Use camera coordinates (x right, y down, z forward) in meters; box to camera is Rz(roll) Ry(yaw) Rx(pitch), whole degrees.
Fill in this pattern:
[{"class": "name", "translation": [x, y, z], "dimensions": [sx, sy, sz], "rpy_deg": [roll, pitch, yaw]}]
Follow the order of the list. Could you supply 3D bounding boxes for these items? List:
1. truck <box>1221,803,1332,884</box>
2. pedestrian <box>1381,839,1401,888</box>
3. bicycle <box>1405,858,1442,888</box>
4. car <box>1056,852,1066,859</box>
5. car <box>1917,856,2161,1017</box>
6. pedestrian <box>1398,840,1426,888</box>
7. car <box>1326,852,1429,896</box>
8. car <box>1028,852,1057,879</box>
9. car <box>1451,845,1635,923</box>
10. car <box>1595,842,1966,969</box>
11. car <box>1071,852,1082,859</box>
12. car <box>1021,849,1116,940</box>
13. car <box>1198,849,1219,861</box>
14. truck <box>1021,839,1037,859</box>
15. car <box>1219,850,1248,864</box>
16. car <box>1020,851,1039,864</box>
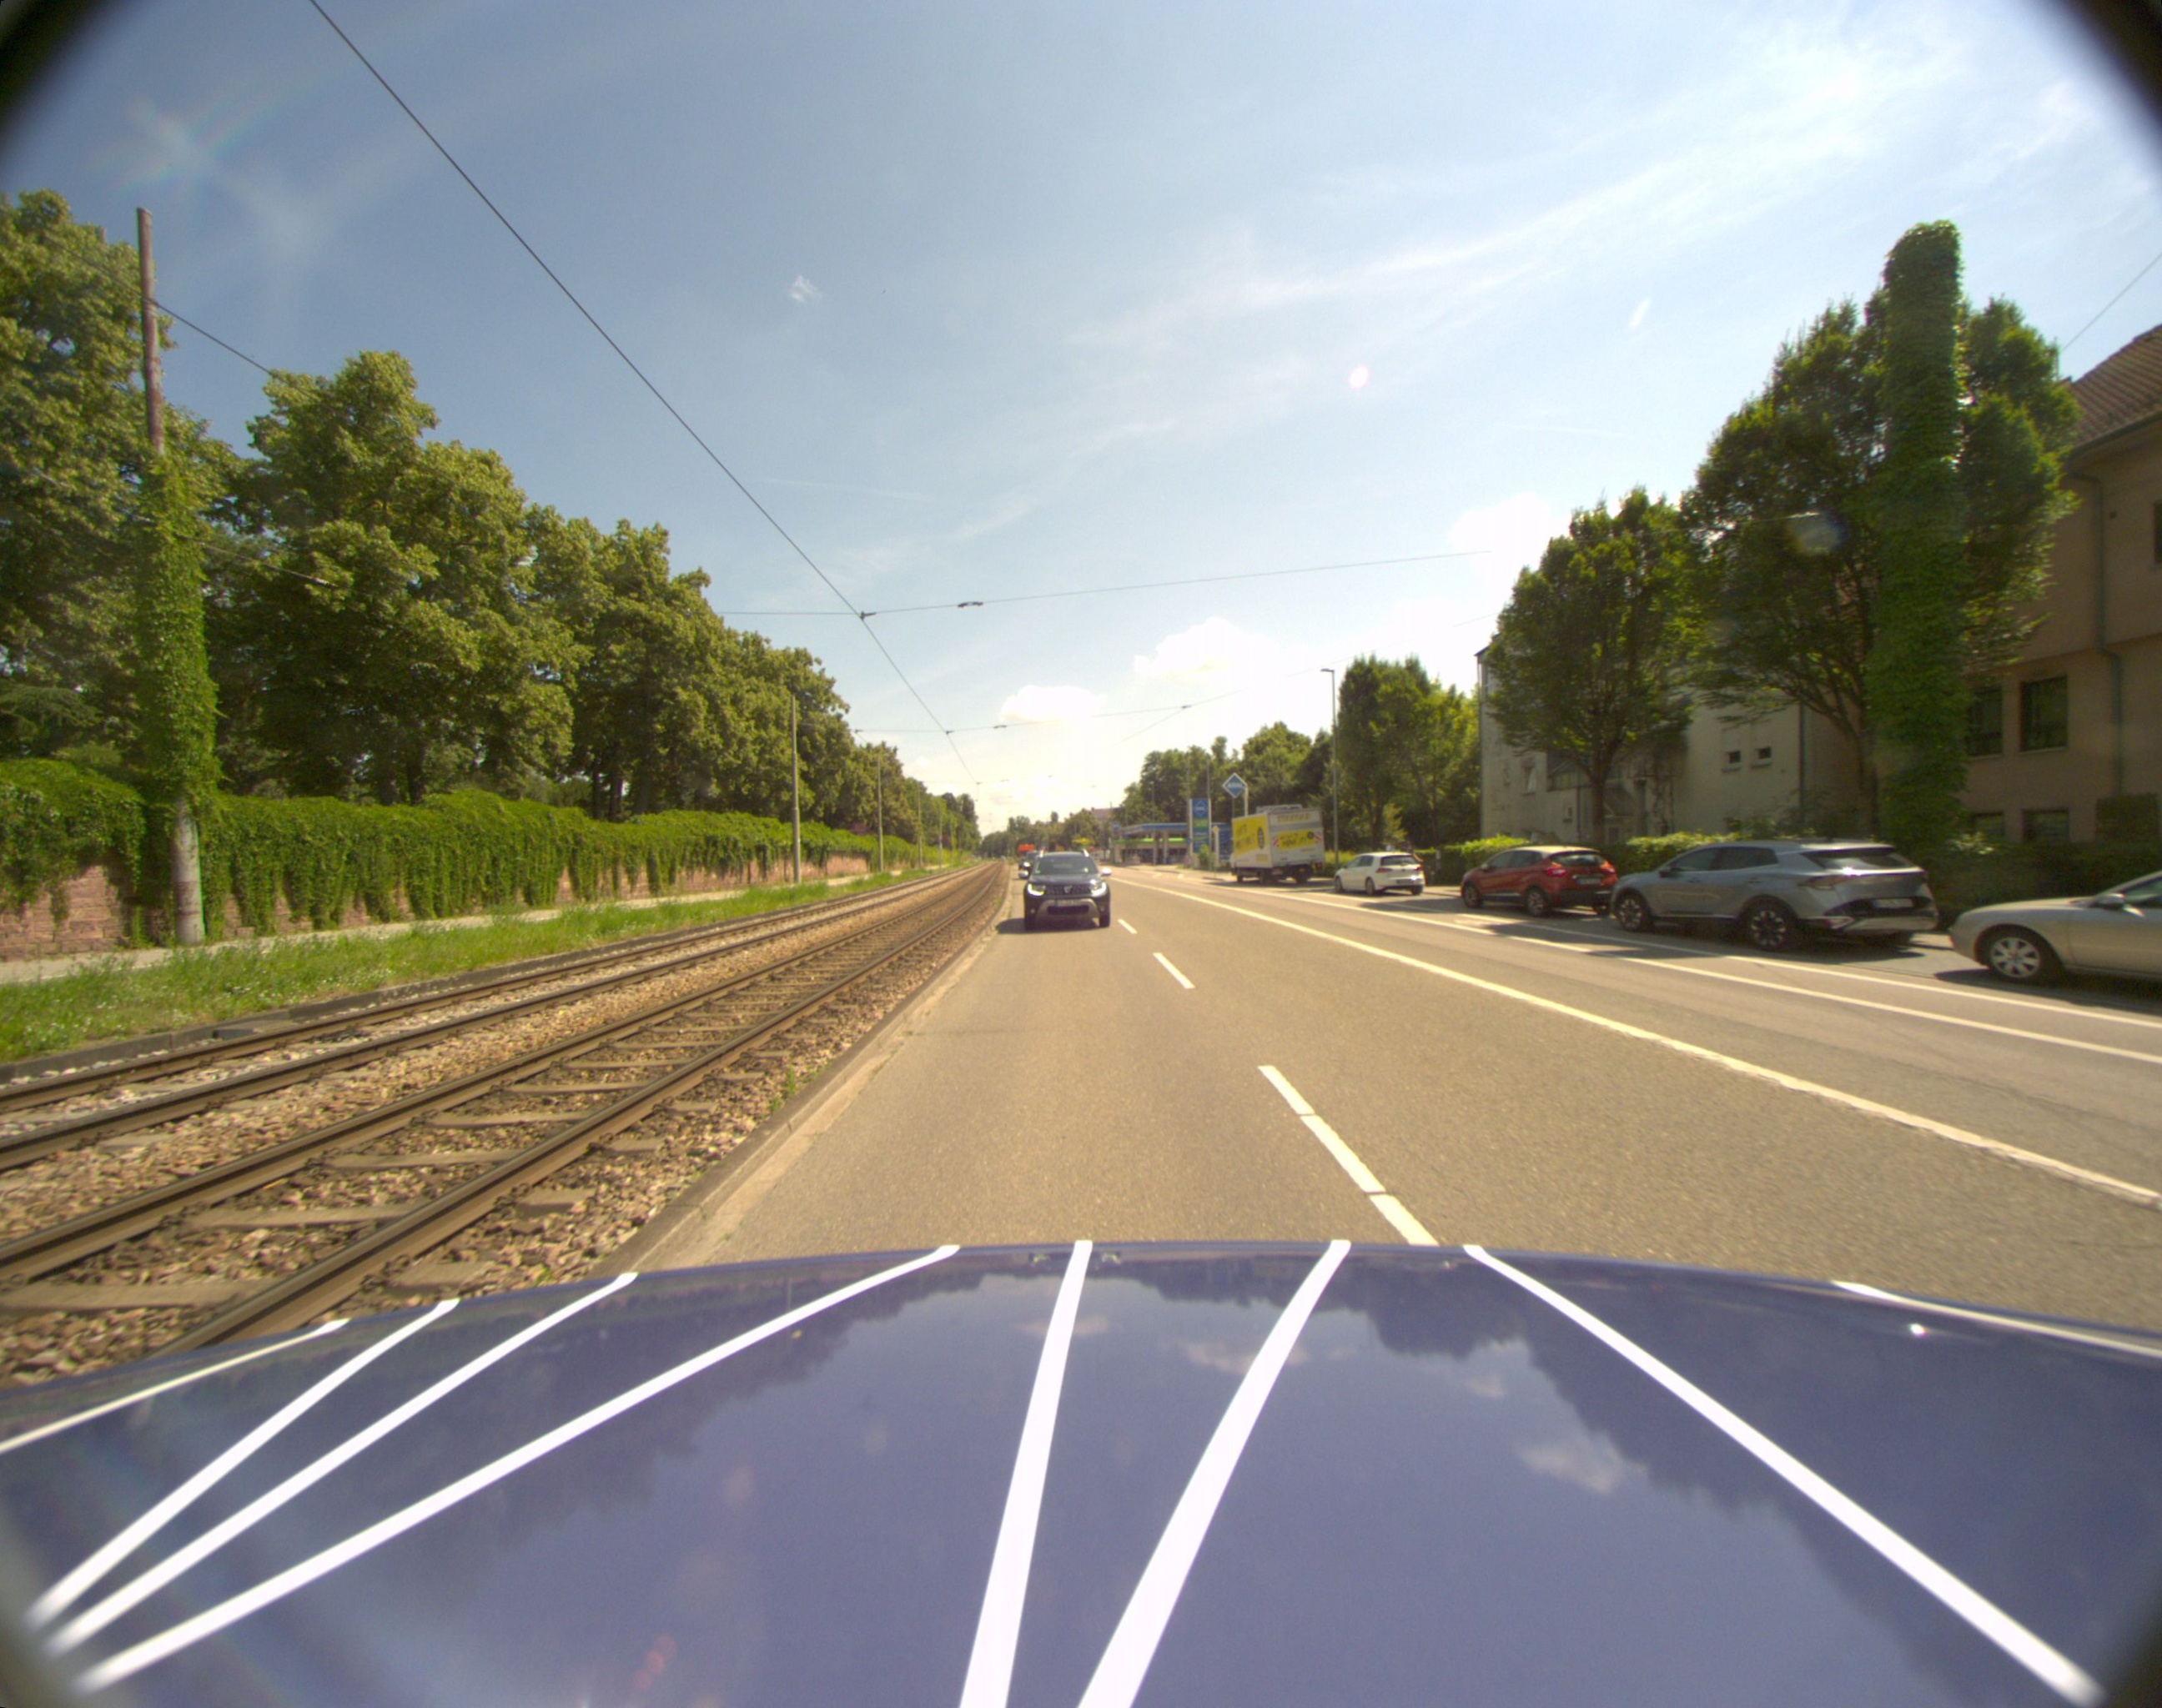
[{"class": "truck", "translation": [9.685, -0.497, 38.698], "dimensions": [2.839, 3.528, 8.167], "rpy_deg": [-4, 0, -4]}, {"class": "pedestrian", "translation": [12.163, 0.360, 29.818], "dimensions": [0.642, 1.911, 0.710], "rpy_deg": [-1, 1, 27]}, {"class": "bicycle", "translation": [13.016, 0.709, 28.943], "dimensions": [0.457, 1.119, 1.664], "rpy_deg": [-1, 0, -8]}, {"class": "car", "translation": [-4.127, 0.382, 156.211], "dimensions": [1.999, 1.379, 3.999], "rpy_deg": [-1, 0, -3]}, {"class": "car", "translation": [11.155, 0.793, 6.919], "dimensions": [1.660, 1.499, 4.895], "rpy_deg": [-1, 0, 0]}, {"class": "pedestrian", "translation": [12.644, 0.385, 29.010], "dimensions": [0.685, 1.784, 0.702], "rpy_deg": [-1, 1, -31]}, {"class": "car", "translation": [10.319, 0.651, 26.815], "dimensions": [1.660, 1.402, 4.395], "rpy_deg": [-1, 0, -4]}, {"class": "car", "translation": [-2.491, 0.739, 50.344], "dimensions": [1.802, 1.683, 4.143], "rpy_deg": [-1, 0, -2]}, {"class": "car", "translation": [10.886, 0.619, 18.293], "dimensions": [1.660, 1.600, 4.172], "rpy_deg": [-2, 1, -4]}, {"class": "car", "translation": [10.898, 0.678, 12.449], "dimensions": [1.660, 1.600, 4.686], "rpy_deg": [-3, 0, -1]}, {"class": "car", "translation": [-0.892, 0.356, 155.884], "dimensions": [1.999, 1.379, 3.999], "rpy_deg": [-1, 0, -3]}, {"class": "car", "translation": [-0.409, 0.775, 17.229], "dimensions": [1.802, 1.652, 4.785], "rpy_deg": [-2, 1, -4]}, {"class": "car", "translation": [18.222, 0.203, 108.832], "dimensions": [1.849, 1.661, 3.997], "rpy_deg": [-1, 0, -6]}, {"class": "truck", "translation": [-9.472, -0.939, 138.570], "dimensions": [2.846, 3.575, 8.701], "rpy_deg": [-2, 1, -4]}, {"class": "car", "translation": [14.802, 0.271, 73.875], "dimensions": [1.819, 1.329, 3.998], "rpy_deg": [-1, 0, -4]}, {"class": "car", "translation": [-5.683, 0.406, 83.664], "dimensions": [1.999, 1.346, 3.998], "rpy_deg": [1, 1, -3]}]
